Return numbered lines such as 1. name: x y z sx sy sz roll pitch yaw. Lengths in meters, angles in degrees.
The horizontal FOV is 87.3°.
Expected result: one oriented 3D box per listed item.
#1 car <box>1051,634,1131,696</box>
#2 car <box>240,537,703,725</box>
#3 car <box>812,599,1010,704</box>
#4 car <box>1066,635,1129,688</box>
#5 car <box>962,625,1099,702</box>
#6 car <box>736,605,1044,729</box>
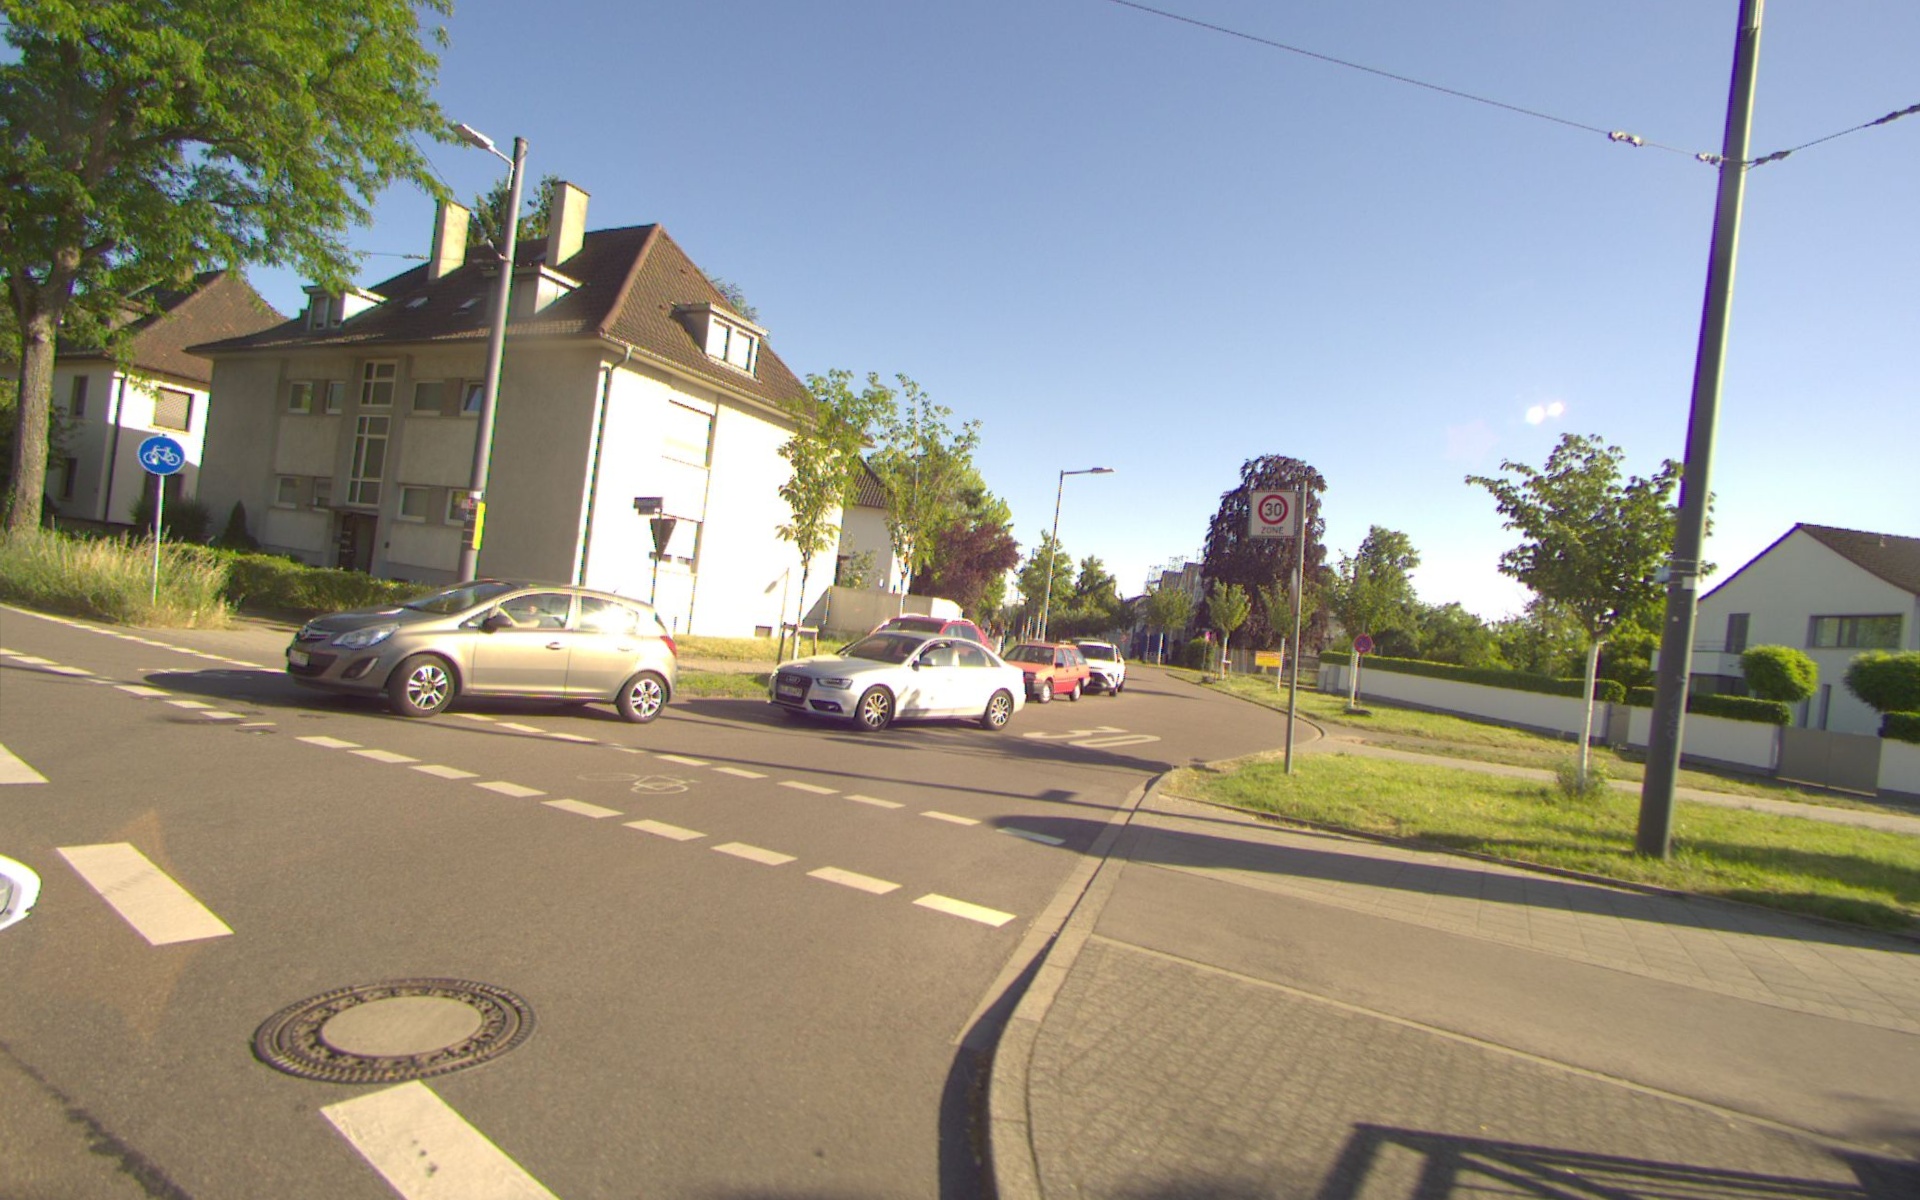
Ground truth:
1. car: 4.128 2.007 31.057 1.944 1.525 4.181 7 -2 12
2. car: -5.122 0.425 10.989 1.953 1.525 3.986 6 -2 39
3. car: -0.835 1.097 19.978 1.948 1.661 4.174 7 -2 28
4. car: 5.083 2.292 37.119 1.962 1.591 4.007 8 -3 8
5. car: 1.856 1.637 25.089 1.946 1.525 4.177 7 -2 24
6. car: -0.909 1.097 15.423 1.955 1.483 4.598 4 -3 41
